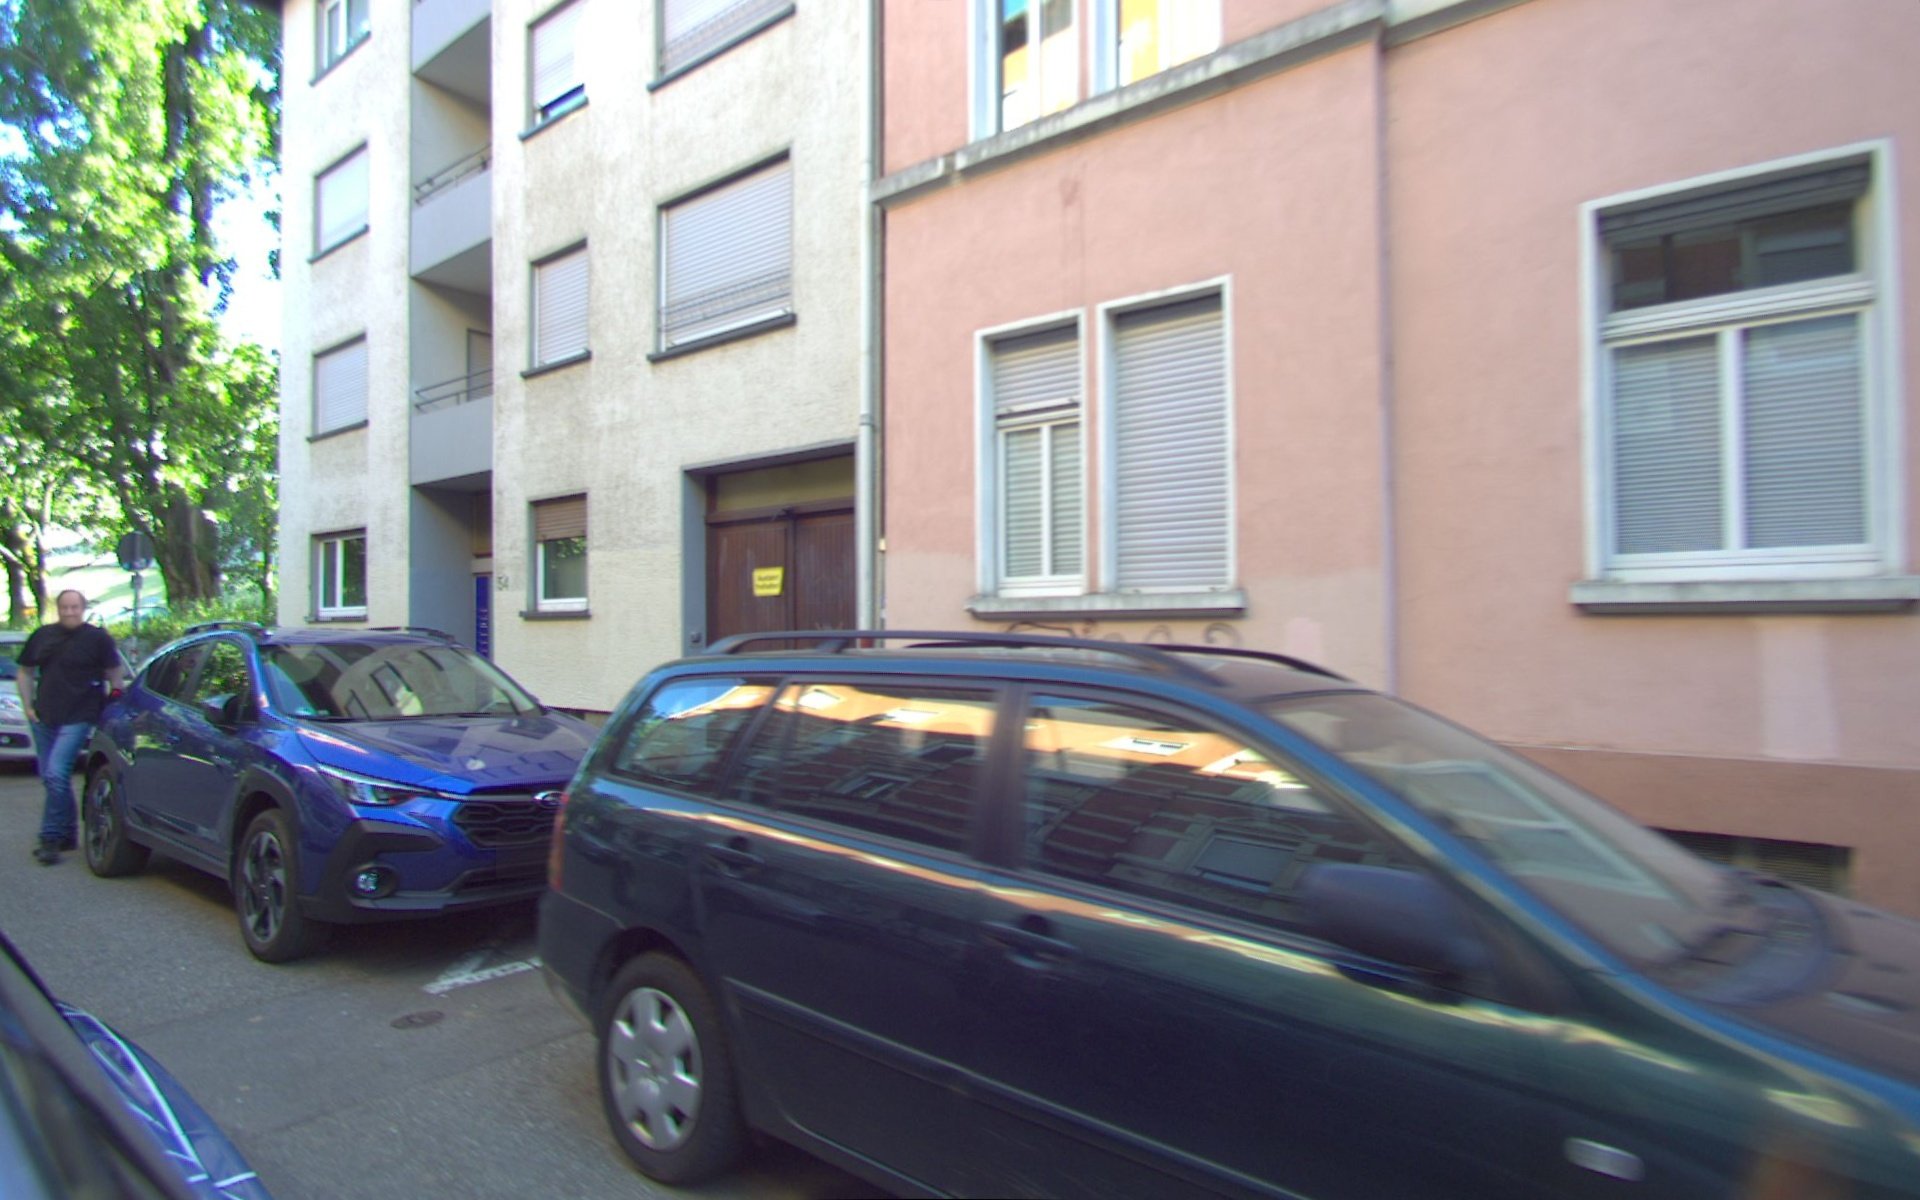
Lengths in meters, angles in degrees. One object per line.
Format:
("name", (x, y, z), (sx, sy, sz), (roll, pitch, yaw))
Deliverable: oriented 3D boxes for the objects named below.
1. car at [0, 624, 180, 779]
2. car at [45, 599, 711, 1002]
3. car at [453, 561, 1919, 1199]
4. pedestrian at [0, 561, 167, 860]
("car", (-10.851, 1.086, 11.859), (3.861, 1.551, 1.660), (-1, -3, 36))
("car", (-3.589, 0.855, 5.924), (4.369, 1.551, 1.713), (-1, -4, 36))
("car", (0.581, 0.767, 2.626), (4.408, 1.523, 1.659), (-2, -3, 38))
("pedestrian", (-6.086, 0.704, 6.814), (0.666, 1.854, 0.906), (0, -3, 14))
